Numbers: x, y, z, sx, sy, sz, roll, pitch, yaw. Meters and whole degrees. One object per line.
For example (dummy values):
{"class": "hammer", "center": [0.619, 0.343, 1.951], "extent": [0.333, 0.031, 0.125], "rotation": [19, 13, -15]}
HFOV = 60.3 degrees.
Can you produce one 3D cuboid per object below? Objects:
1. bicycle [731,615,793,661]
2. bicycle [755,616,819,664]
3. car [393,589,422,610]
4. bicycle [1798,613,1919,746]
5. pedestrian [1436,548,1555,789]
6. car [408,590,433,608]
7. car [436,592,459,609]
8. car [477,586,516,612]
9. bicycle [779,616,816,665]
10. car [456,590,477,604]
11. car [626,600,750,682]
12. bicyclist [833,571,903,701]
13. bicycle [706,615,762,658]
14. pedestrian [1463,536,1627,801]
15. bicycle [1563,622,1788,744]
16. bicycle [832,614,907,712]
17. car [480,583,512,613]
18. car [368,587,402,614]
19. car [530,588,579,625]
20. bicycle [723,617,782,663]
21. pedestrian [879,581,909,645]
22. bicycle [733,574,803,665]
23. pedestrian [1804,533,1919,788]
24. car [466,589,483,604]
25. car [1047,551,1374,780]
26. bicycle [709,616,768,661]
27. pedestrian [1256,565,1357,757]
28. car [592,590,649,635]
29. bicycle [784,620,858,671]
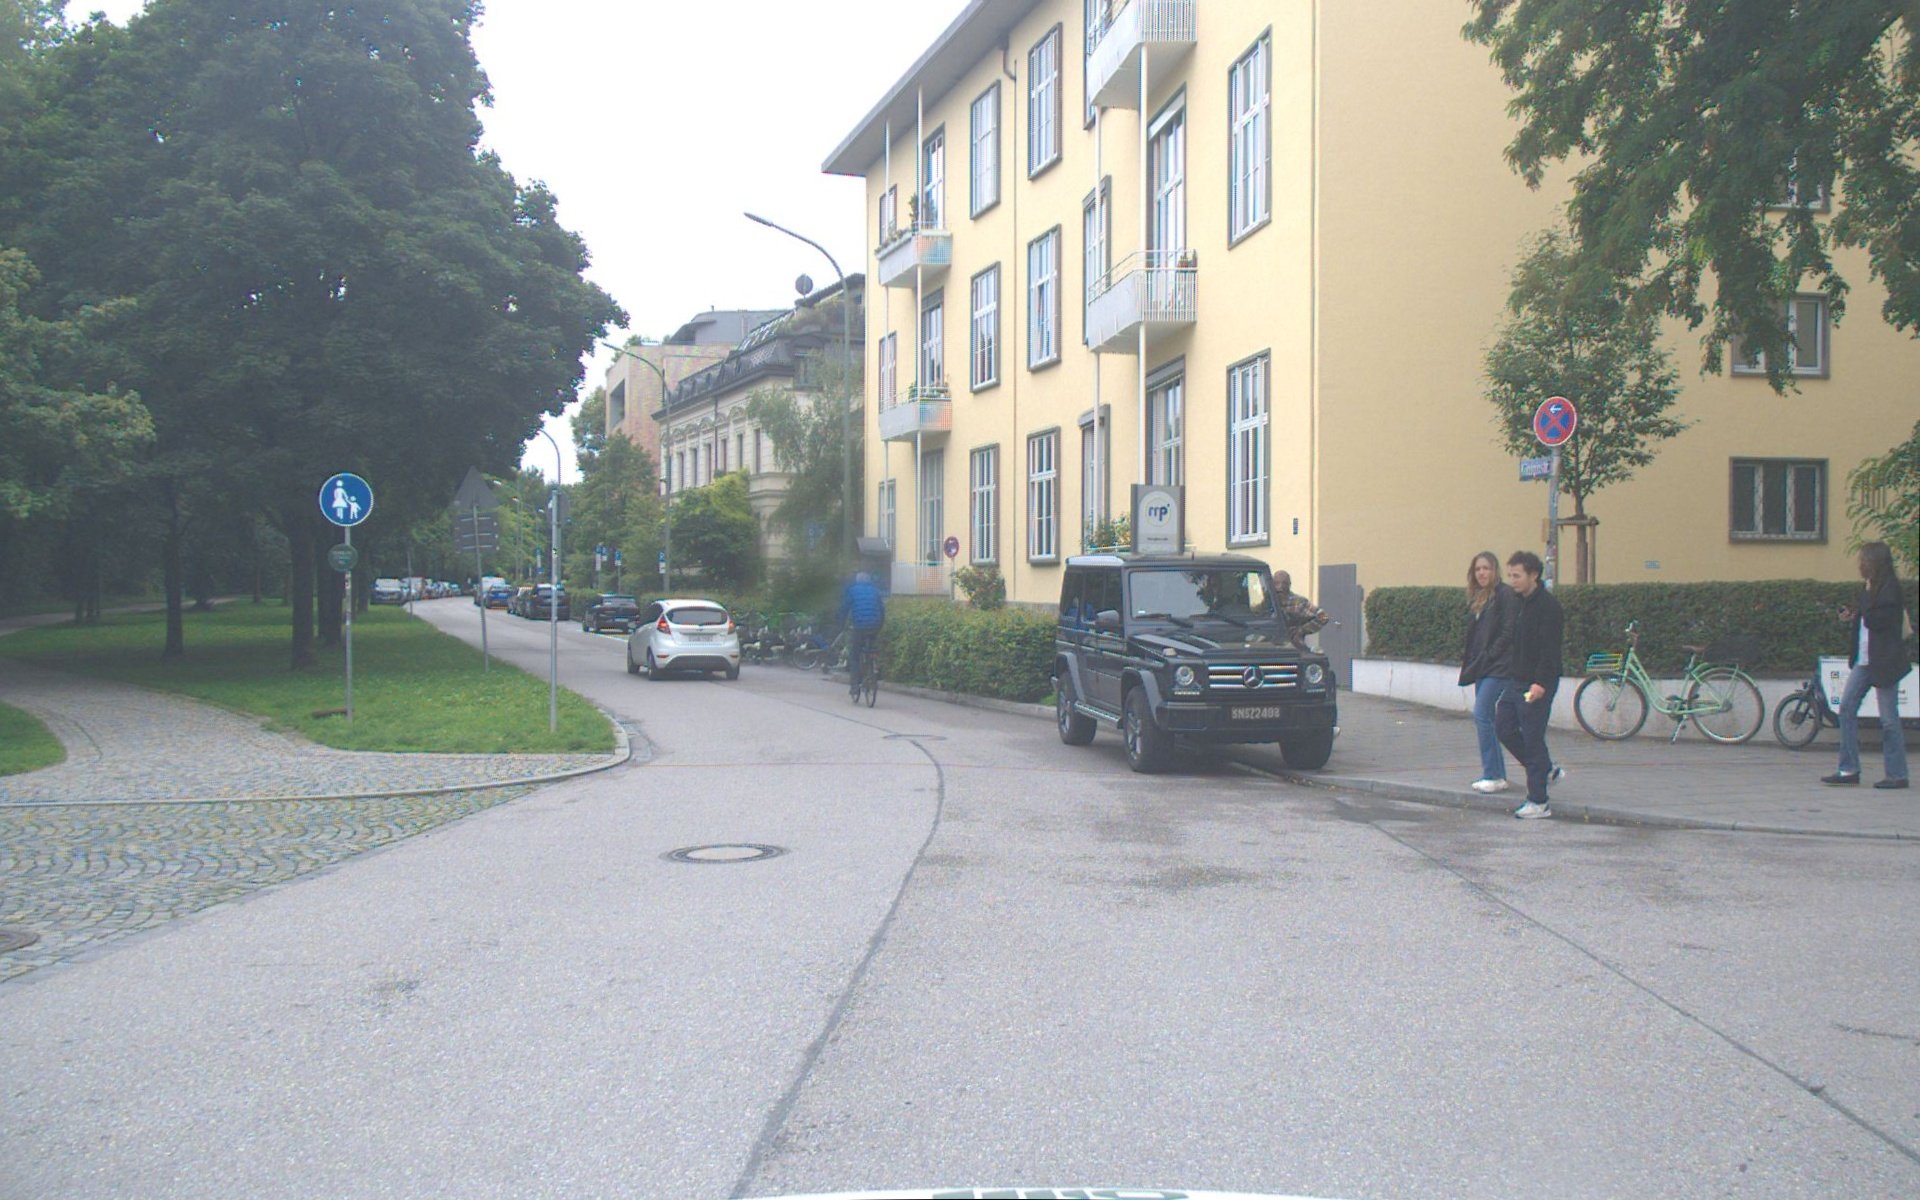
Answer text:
{"class": "bicycle", "center": [-4.664, 0.890, 39.098], "extent": [0.402, 1.032, 1.527], "rotation": [-1, 1, 44]}
{"class": "bicycle", "center": [-3.986, 0.909, 38.204], "extent": [1.524, 1.032, 0.361], "rotation": [-2, 1, -42]}
{"class": "car", "center": [-43.958, -0.015, 131.713], "extent": [1.961, 1.628, 4.448], "rotation": [-1, 0, -16]}
{"class": "bicycle", "center": [8.618, 0.692, 14.573], "extent": [2.123, 1.135, 0.641], "rotation": [0, 0, 20]}
{"class": "pedestrian", "center": [4.079, 0.502, 12.657], "extent": [0.809, 1.776, 0.741], "rotation": [0, 0, 15]}
{"class": "car", "center": [-48.008, -0.104, 147.191], "extent": [1.961, 1.628, 4.448], "rotation": [-1, 0, -16]}
{"class": "car", "center": [-51.655, 0.055, 166.708], "extent": [1.770, 1.687, 4.239], "rotation": [-1, 0, -11]}
{"class": "car", "center": [-29.386, -0.056, 104.758], "extent": [1.965, 1.628, 4.227], "rotation": [-1, 0, -21]}
{"class": "bicycle", "center": [-3.630, 0.890, 37.109], "extent": [0.358, 1.032, 1.539], "rotation": [-1, 1, 12]}
{"class": "car", "center": [-56.728, -0.379, 190.124], "extent": [1.958, 1.628, 4.454], "rotation": [-1, 0, -12]}
{"class": "car", "center": [-5.239, 0.728, 31.525], "extent": [1.721, 1.431, 3.706], "rotation": [-1, 0, -19]}
{"class": "bicyclist", "center": [-1.316, 0.489, 23.502], "extent": [0.897, 1.795, 1.213], "rotation": [-1, 0, -7]}
{"class": "bicycle", "center": [-5.686, 0.911, 41.682], "extent": [0.402, 1.032, 1.530], "rotation": [-1, 1, 40]}
{"class": "pedestrian", "center": [4.179, 0.482, 11.867], "extent": [0.968, 1.841, 0.660], "rotation": [-1, 0, 7]}
{"class": "bicycle", "center": [6.860, 0.787, 15.939], "extent": [0.525, 1.104, 1.919], "rotation": [0, -2, -43]}
{"class": "bicycle", "center": [-1.315, 0.861, 23.510], "extent": [0.903, 1.274, 2.318], "rotation": [-1, 0, -7]}
{"class": "car", "center": [-31.949, -0.137, 113.812], "extent": [2.033, 2.000, 4.953], "rotation": [-1, 0, -17]}
{"class": "car", "center": [-35.762, 0.033, 102.810], "extent": [1.964, 1.628, 4.440], "rotation": [-1, 0, -20]}
{"class": "car", "center": [-19.617, 0.286, 79.907], "extent": [1.767, 1.709, 3.974], "rotation": [-1, 0, -21]}
{"class": "bicycle", "center": [-4.957, 0.939, 39.550], "extent": [0.402, 1.032, 1.530], "rotation": [-1, 1, 40]}
{"class": "pedestrian", "center": [-1.802, 0.352, 45.189], "extent": [0.621, 1.713, 0.694], "rotation": [-1, 0, -19]}
{"class": "bicycle", "center": [-4.463, 0.433, 38.528], "extent": [0.449, 2.049, 1.666], "rotation": [-1, 1, 44]}
{"class": "pedestrian", "center": [7.102, 0.451, 12.712], "extent": [0.832, 1.890, 0.767], "rotation": [-2, 0, 8]}
{"class": "car", "center": [-57.510, -0.379, 195.936], "extent": [1.771, 1.687, 4.235], "rotation": [-1, 0, -13]}
{"class": "car", "center": [2.270, 0.531, 16.352], "extent": [1.839, 1.920, 4.608], "rotation": [-1, 0, -10]}
{"class": "bicycle", "center": [-5.325, 0.917, 39.882], "extent": [0.402, 1.032, 1.530], "rotation": [-1, 1, 40]}
{"class": "pedestrian", "center": [3.342, 0.570, 16.016], "extent": [0.830, 1.788, 0.954], "rotation": [-1, 0, 5]}
{"class": "car", "center": [-12.398, 0.439, 60.289], "extent": [1.622, 1.585, 3.540], "rotation": [-1, 0, -18]}
{"class": "bicycle", "center": [-2.967, 0.961, 35.271], "extent": [1.511, 1.032, 0.365], "rotation": [-2, 0, -23]}
